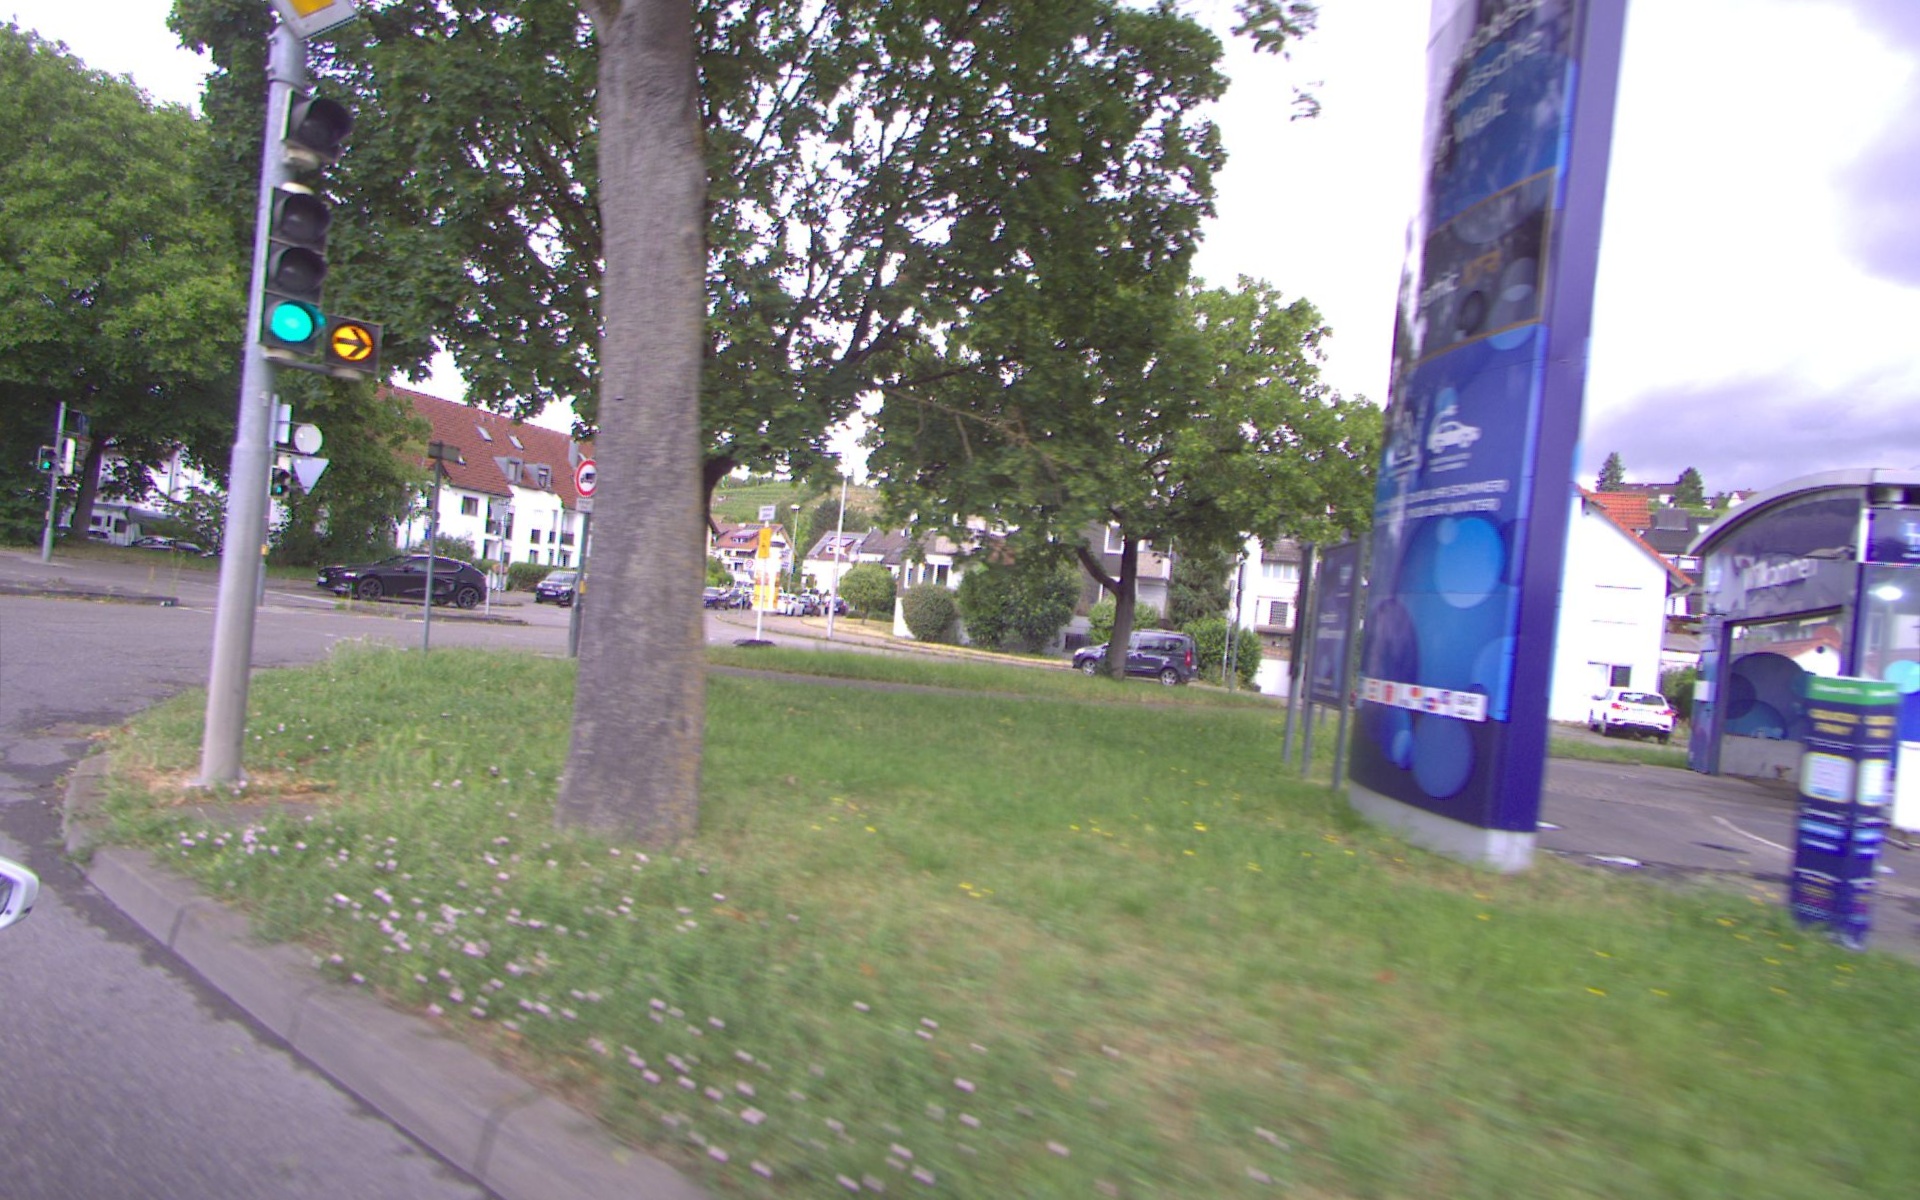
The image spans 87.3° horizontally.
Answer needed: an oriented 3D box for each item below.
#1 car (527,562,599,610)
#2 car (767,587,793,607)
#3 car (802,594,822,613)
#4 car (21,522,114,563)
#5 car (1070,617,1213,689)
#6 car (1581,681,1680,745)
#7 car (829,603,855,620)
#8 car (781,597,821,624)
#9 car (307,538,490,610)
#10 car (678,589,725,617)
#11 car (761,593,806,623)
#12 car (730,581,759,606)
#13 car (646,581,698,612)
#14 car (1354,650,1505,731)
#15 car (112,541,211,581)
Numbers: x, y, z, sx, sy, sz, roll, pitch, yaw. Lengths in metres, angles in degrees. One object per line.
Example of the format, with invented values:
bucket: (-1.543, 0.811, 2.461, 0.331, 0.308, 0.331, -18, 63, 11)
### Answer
car: (-18.806, -0.606, 47.865, 1.965, 1.785, 4.000, 8, -3, -6)
car: (-18.401, -0.281, 102.883, 1.964, 1.774, 4.467, 7, -1, -4)
car: (-20.203, 0.401, 137.437, 2.374, 2.264, 4.461, 7, -1, -10)
car: (-42.515, -2.731, 47.919, 3.768, 1.401, 1.485, 7, -3, 17)
car: (6.197, 1.811, 34.396, 4.330, 1.863, 1.723, 6, -3, 27)
car: (21.846, 3.694, 32.934, 1.885, 1.713, 3.816, 6, -3, 24)
car: (-10.336, 1.023, 88.448, 1.693, 1.258, 3.652, 7, 0, 1)
car: (-10.712, 0.750, 68.175, 1.963, 1.535, 4.000, 8, -1, -1)
car: (-15.905, -0.693, 28.709, 1.678, 1.544, 4.153, 6, -1, 36)
car: (-17.908, 0.257, 69.923, 1.963, 1.441, 4.473, 8, -3, -1)
car: (-10.966, 0.512, 62.704, 1.963, 1.535, 4.000, 8, -1, -1)
car: (-21.172, -0.567, 99.083, 1.964, 2.150, 4.467, 7, -1, -4)
car: (-17.986, -0.186, 63.108, 1.964, 1.441, 4.472, 8, -3, -2)
car: (14.120, 2.719, 30.362, 3.855, 1.863, 1.621, 6, -3, 27)
car: (-36.737, -1.783, 46.293, 3.785, 1.260, 1.629, 7, -3, 17)
